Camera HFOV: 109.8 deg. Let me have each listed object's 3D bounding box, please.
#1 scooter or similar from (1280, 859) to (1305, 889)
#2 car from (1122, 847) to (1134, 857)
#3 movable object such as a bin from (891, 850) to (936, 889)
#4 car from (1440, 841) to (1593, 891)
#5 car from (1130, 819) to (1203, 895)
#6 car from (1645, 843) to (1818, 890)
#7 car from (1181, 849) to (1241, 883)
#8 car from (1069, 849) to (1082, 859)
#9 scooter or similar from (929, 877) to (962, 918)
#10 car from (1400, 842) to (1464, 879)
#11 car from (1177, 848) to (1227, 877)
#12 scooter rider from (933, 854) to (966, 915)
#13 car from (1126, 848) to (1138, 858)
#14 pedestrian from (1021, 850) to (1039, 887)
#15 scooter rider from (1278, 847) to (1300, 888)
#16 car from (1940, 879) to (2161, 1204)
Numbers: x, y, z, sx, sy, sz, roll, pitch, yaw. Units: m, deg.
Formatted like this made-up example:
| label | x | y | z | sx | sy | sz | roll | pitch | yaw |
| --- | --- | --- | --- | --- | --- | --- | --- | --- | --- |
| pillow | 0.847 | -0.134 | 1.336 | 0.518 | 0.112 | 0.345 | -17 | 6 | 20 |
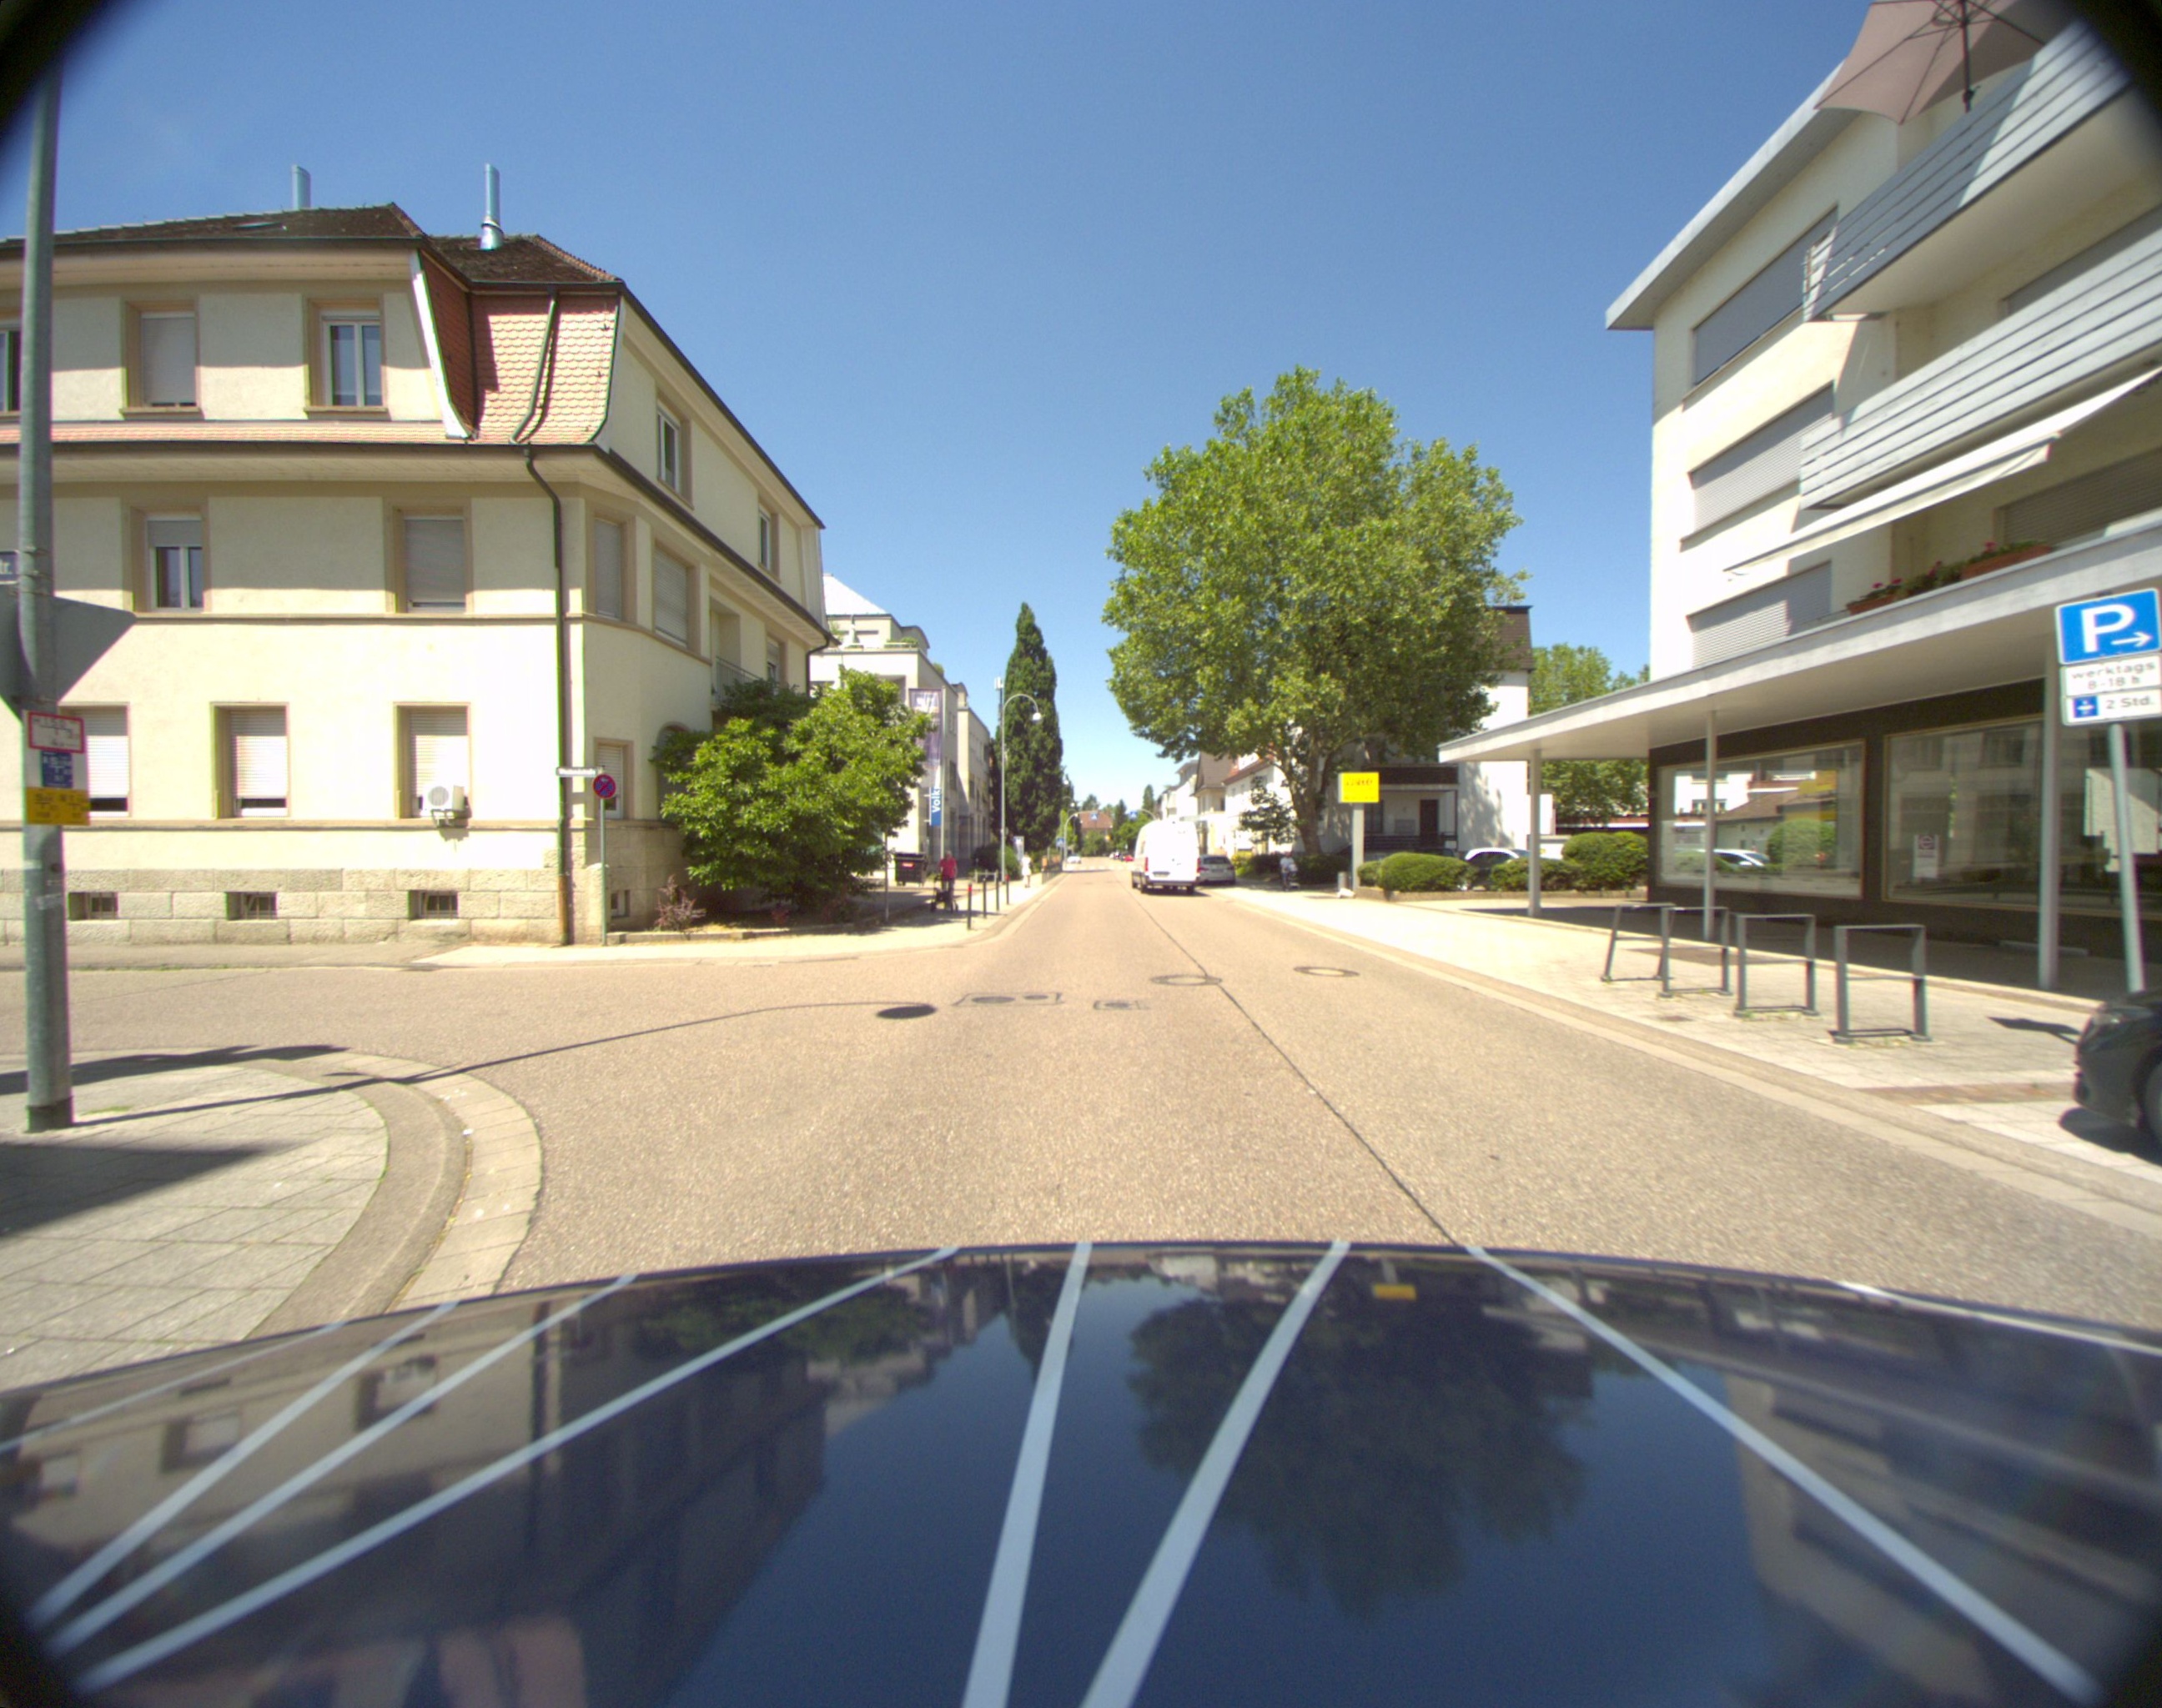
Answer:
| label | x | y | z | sx | sy | sz | roll | pitch | yaw |
| --- | --- | --- | --- | --- | --- | --- | --- | --- | --- |
| scooter or similar | 8.157 | 0.748 | 29.321 | 0.665 | 1.092 | 1.028 | -3 | 0 | 3 |
| car | 8.186 | -0.393 | 133.153 | 1.925 | 1.577 | 4.435 | -4 | 1 | 2 |
| movable object such as a bin | -6.726 | 0.606 | 30.599 | 1.371 | 1.450 | 1.380 | 2 | 1 | 3 |
| car | 14.267 | 0.349 | 25.107 | 1.900 | 1.478 | 3.986 | -1 | 1 | -29 |
| car | 3.214 | 0.080 | 30.112 | 2.041 | 2.615 | 7.106 | 1 | 0 | 0 |
| car | 21.632 | 0.395 | 25.470 | 1.778 | 1.426 | 4.028 | 1 | 0 | -25 |
| car | 6.219 | 0.534 | 36.930 | 1.986 | 1.444 | 5.150 | -2 | 0 | 0 |
| car | -0.777 | 0.024 | 114.554 | 1.920 | 1.460 | 4.880 | 0 | 1 | 1 |
| scooter or similar | -3.368 | 1.065 | 18.905 | 0.665 | 0.957 | 0.754 | 1 | 1 | 0 |
| car | 15.338 | 0.250 | 33.414 | 1.809 | 1.536 | 4.109 | 0 | 1 | 14 |
| car | 6.729 | 0.439 | 42.815 | 1.986 | 1.444 | 4.867 | -2 | 0 | 0 |
| scooter rider | -3.370 | 0.765 | 19.532 | 0.718 | 1.540 | 0.770 | 0 | 1 | -1 |
| car | 8.204 | -0.221 | 121.856 | 1.737 | 1.444 | 4.260 | -4 | 1 | 2 |
| pedestrian | -2.286 | 0.637 | 34.252 | 0.702 | 1.617 | 0.783 | 2 | 1 | 0 |
| scooter rider | 8.206 | 0.523 | 29.978 | 0.590 | 1.566 | 0.877 | -3 | 1 | 2 |
| car | 5.898 | 0.884 | 1.857 | 1.901 | 1.409 | 5.047 | -3 | 0 | 1 |
